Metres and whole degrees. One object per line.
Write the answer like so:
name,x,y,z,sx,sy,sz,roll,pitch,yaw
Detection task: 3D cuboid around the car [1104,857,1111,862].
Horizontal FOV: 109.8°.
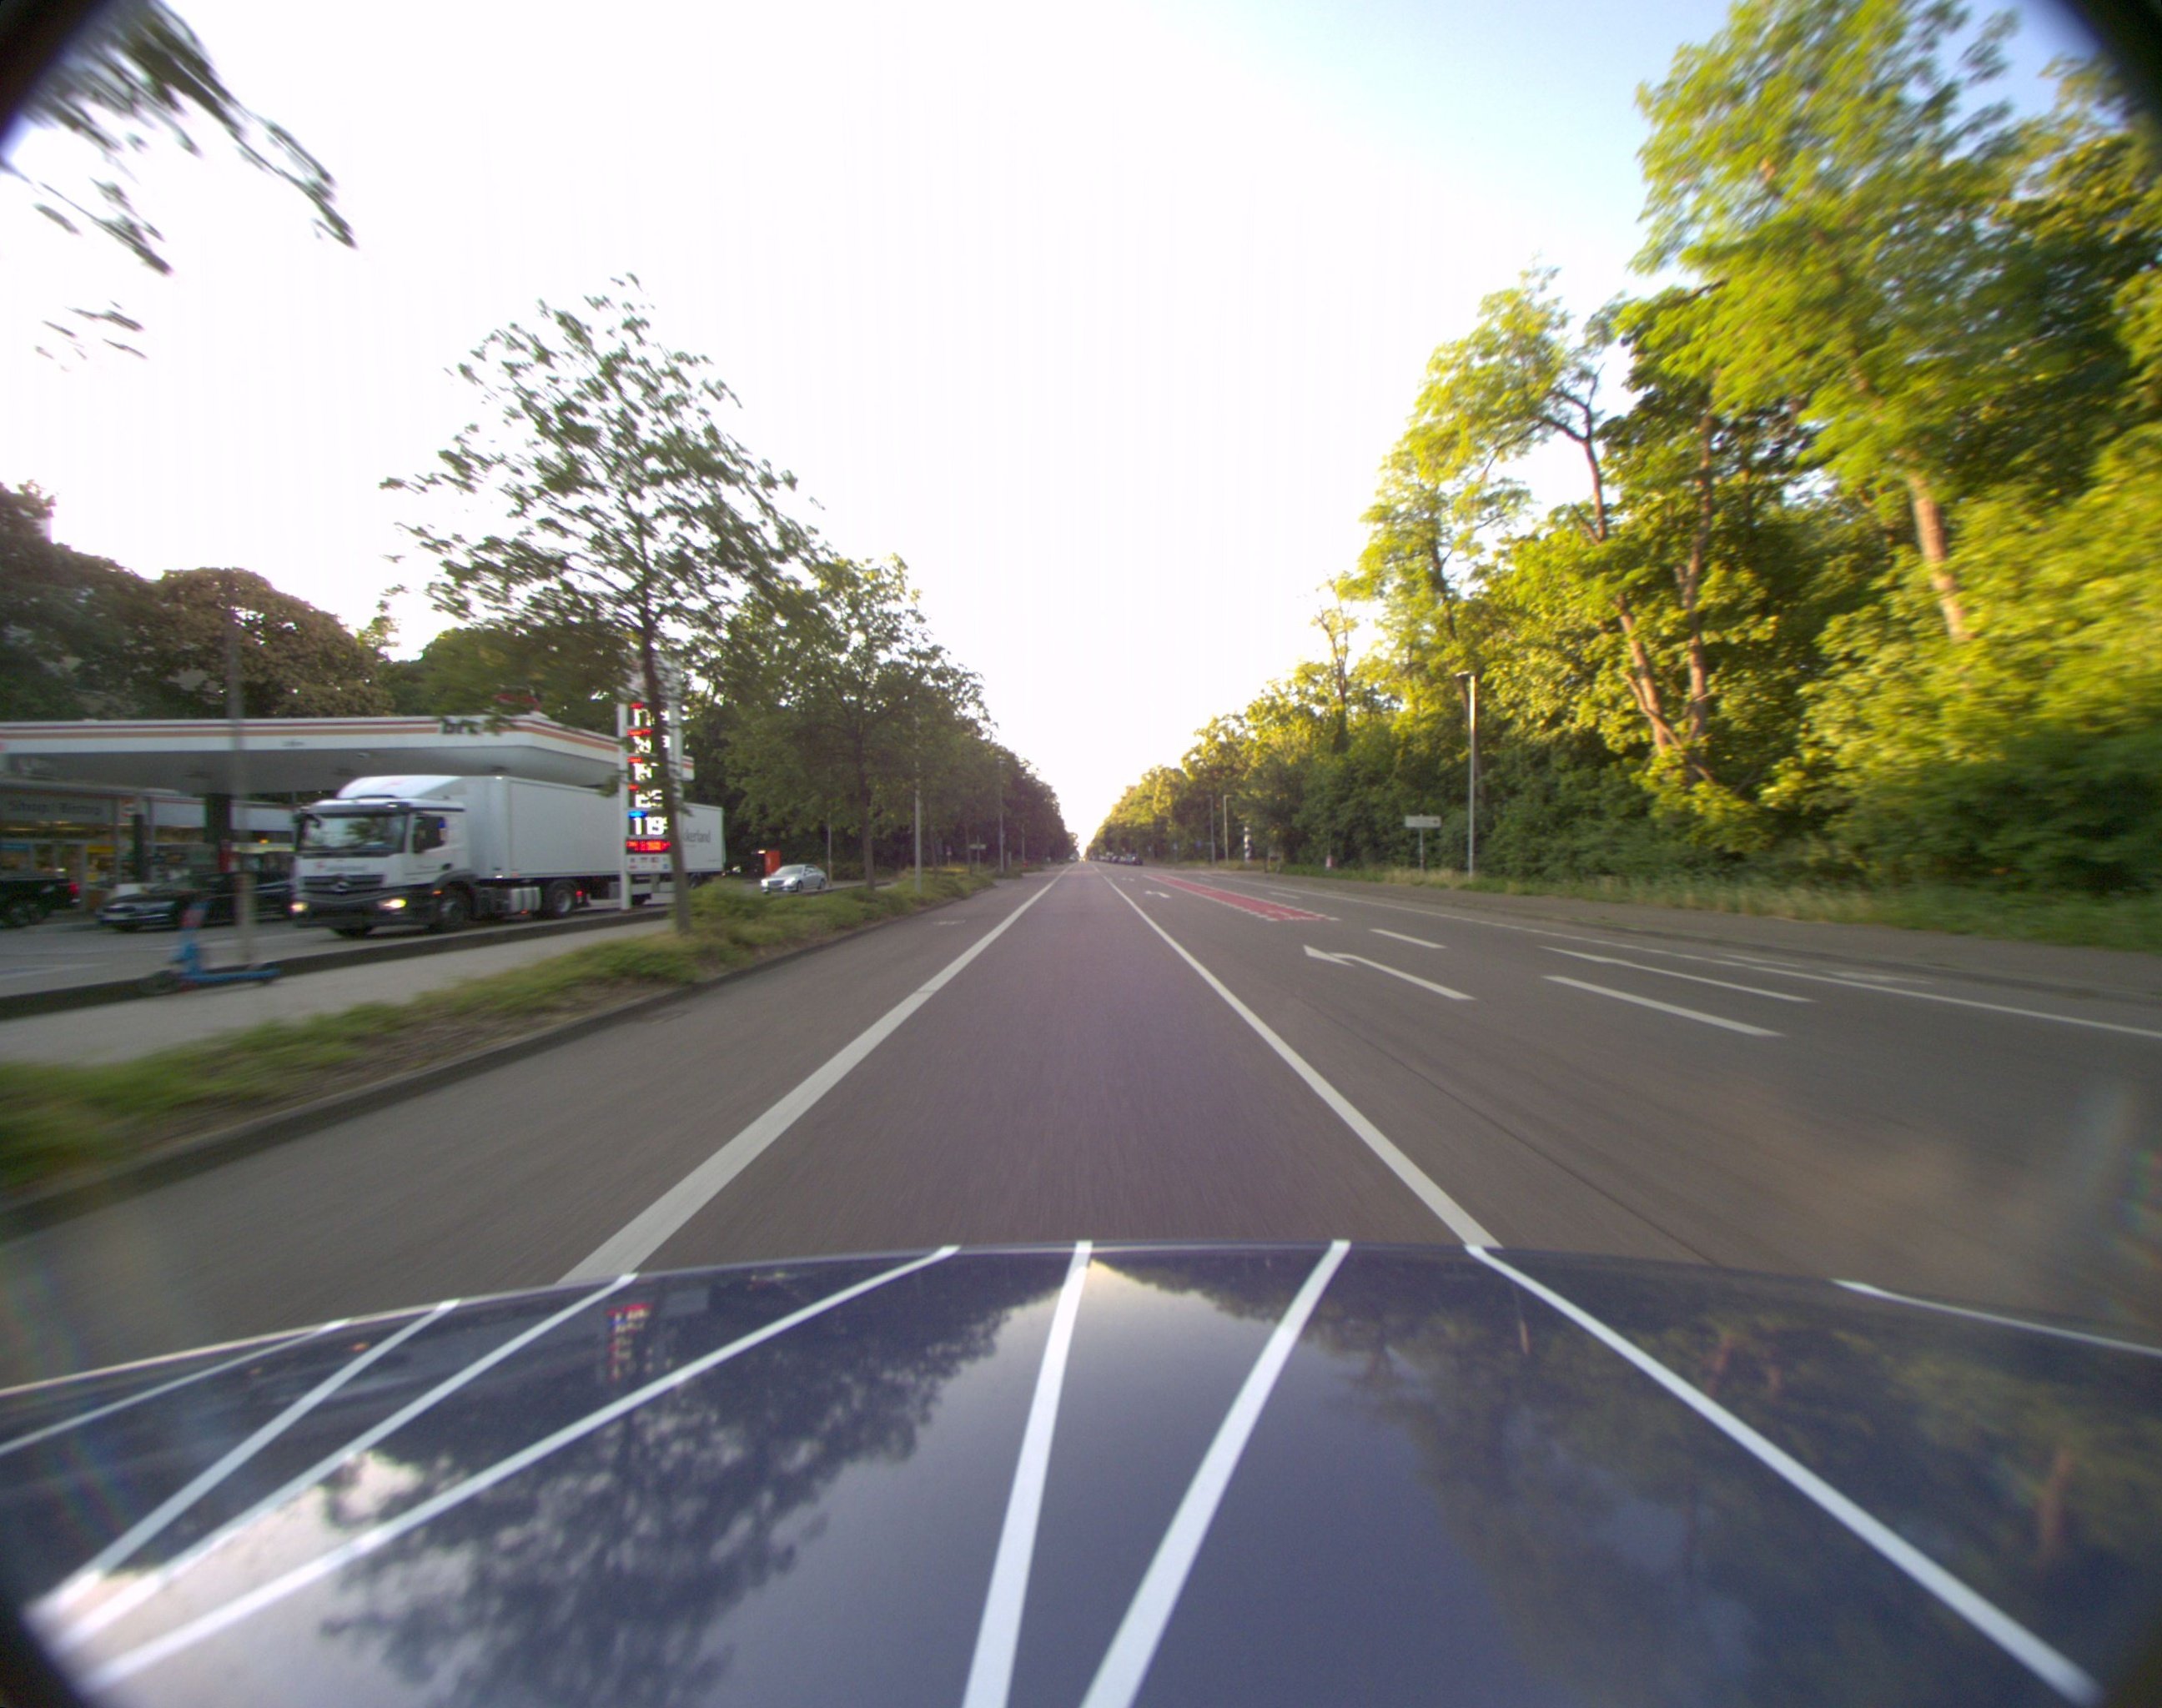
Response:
car,8.030,1.537,228.108,1.850,1.454,4.229,1,-1,-2

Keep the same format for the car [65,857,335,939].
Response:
car,-23.820,1.087,20.906,1.876,1.855,4.675,-1,2,1

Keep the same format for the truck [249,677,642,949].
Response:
truck,-15.218,-0.843,19.530,3.041,5.424,8.408,-1,0,-2

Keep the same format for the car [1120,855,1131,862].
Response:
car,8.795,0.902,151.660,1.621,1.525,4.038,1,0,-5

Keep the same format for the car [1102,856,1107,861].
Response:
car,8.052,1.460,261.700,1.699,1.636,4.572,1,-1,-2

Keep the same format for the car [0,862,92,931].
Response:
car,-29.969,1.165,19.469,1.953,1.854,5.502,-1,0,1

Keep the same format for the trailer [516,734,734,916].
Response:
trailer,-15.496,-0.849,26.764,3.028,5.430,7.933,-1,0,-2

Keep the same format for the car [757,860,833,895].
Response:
car,-14.737,1.155,39.473,1.773,1.574,4.820,-3,0,4

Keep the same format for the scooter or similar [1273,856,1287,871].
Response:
scooter or similar,15.076,0.713,57.484,0.901,1.062,0.495,-1,0,-25

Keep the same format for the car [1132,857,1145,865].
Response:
car,10.214,1.251,135.099,1.692,1.453,4.241,1,0,-5

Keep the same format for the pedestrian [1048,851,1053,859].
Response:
pedestrian,-6.430,0.233,159.897,0.840,1.741,0.726,-1,0,1

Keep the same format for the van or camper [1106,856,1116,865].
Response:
van or camper,7.139,1.468,180.616,2.008,2.006,5.460,1,0,-2

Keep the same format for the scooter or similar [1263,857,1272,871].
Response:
scooter or similar,15.034,0.796,61.293,0.360,1.103,0.881,-1,0,42

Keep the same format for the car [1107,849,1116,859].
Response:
car,8.275,0.057,204.430,2.084,2.591,7.089,2,0,0

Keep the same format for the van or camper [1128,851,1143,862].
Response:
van or camper,10.050,0.457,140.957,2.037,2.081,5.012,1,0,-4

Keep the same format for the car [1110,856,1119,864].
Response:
car,7.266,1.236,165.658,1.749,1.702,4.522,1,0,-2

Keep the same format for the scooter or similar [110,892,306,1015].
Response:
scooter or similar,-10.333,1.131,9.078,0.599,1.274,1.468,-1,0,1
